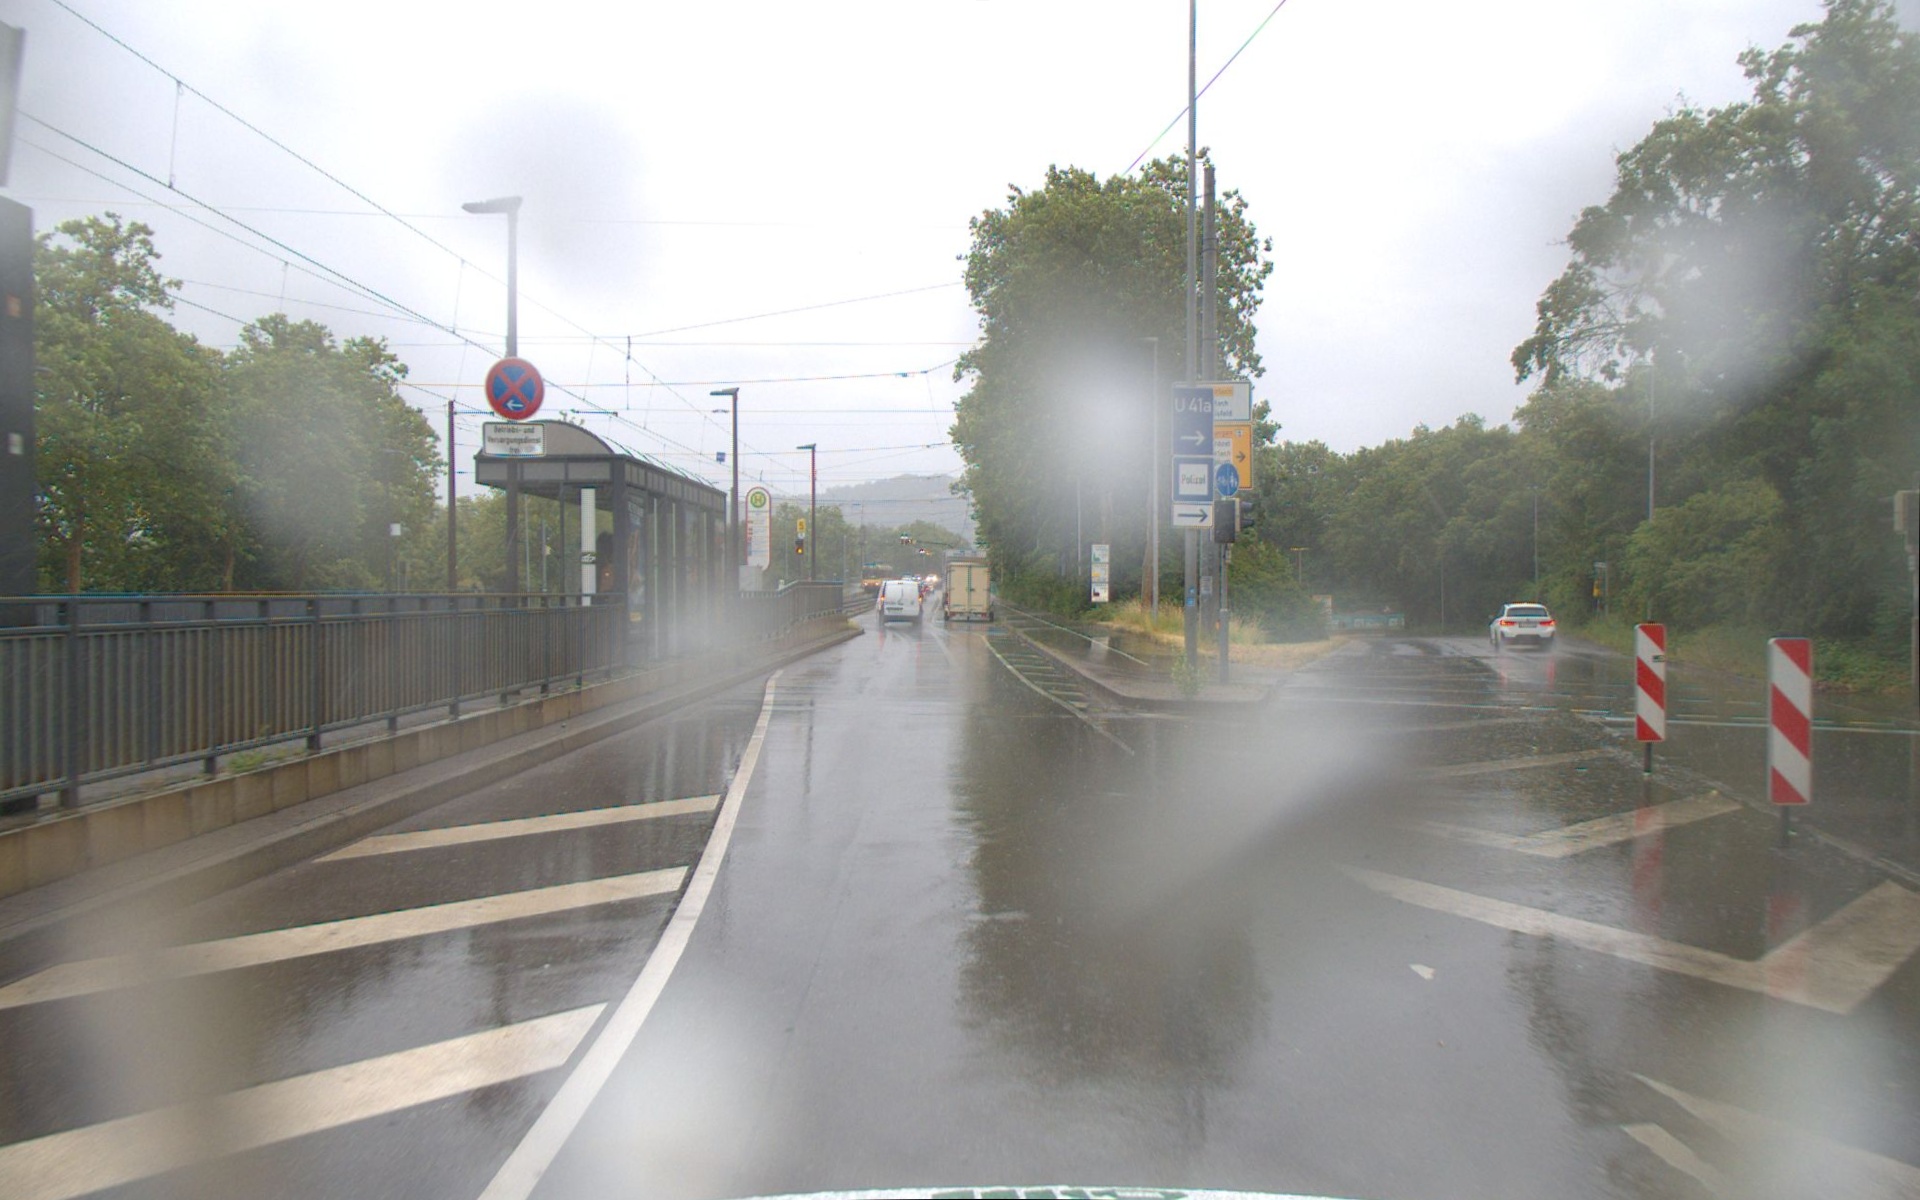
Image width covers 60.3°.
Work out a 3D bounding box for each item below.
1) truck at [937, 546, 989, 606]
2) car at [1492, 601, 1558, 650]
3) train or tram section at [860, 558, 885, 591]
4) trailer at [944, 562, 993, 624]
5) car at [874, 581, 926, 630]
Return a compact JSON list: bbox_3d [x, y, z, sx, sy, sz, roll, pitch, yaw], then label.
[{"bbox_3d":[0.125,-1.515,109.261,2.720,3.769,9.844,0,0,-4],"label":"truck"},{"bbox_3d":[17.889,0.767,52.471,1.848,1.456,4.002,0,0,17],"label":"car"},{"bbox_3d":[-11.691,-3.371,222.282,2.749,4.222,13.018,0,0,0],"label":"train or tram section"},{"bbox_3d":[0.435,-0.323,78.108,2.121,2.806,5.678,0,0,2],"label":"trailer"},{"bbox_3d":[-2.432,0.201,66.338,1.954,1.881,3.997,0,0,-4],"label":"car"}]
